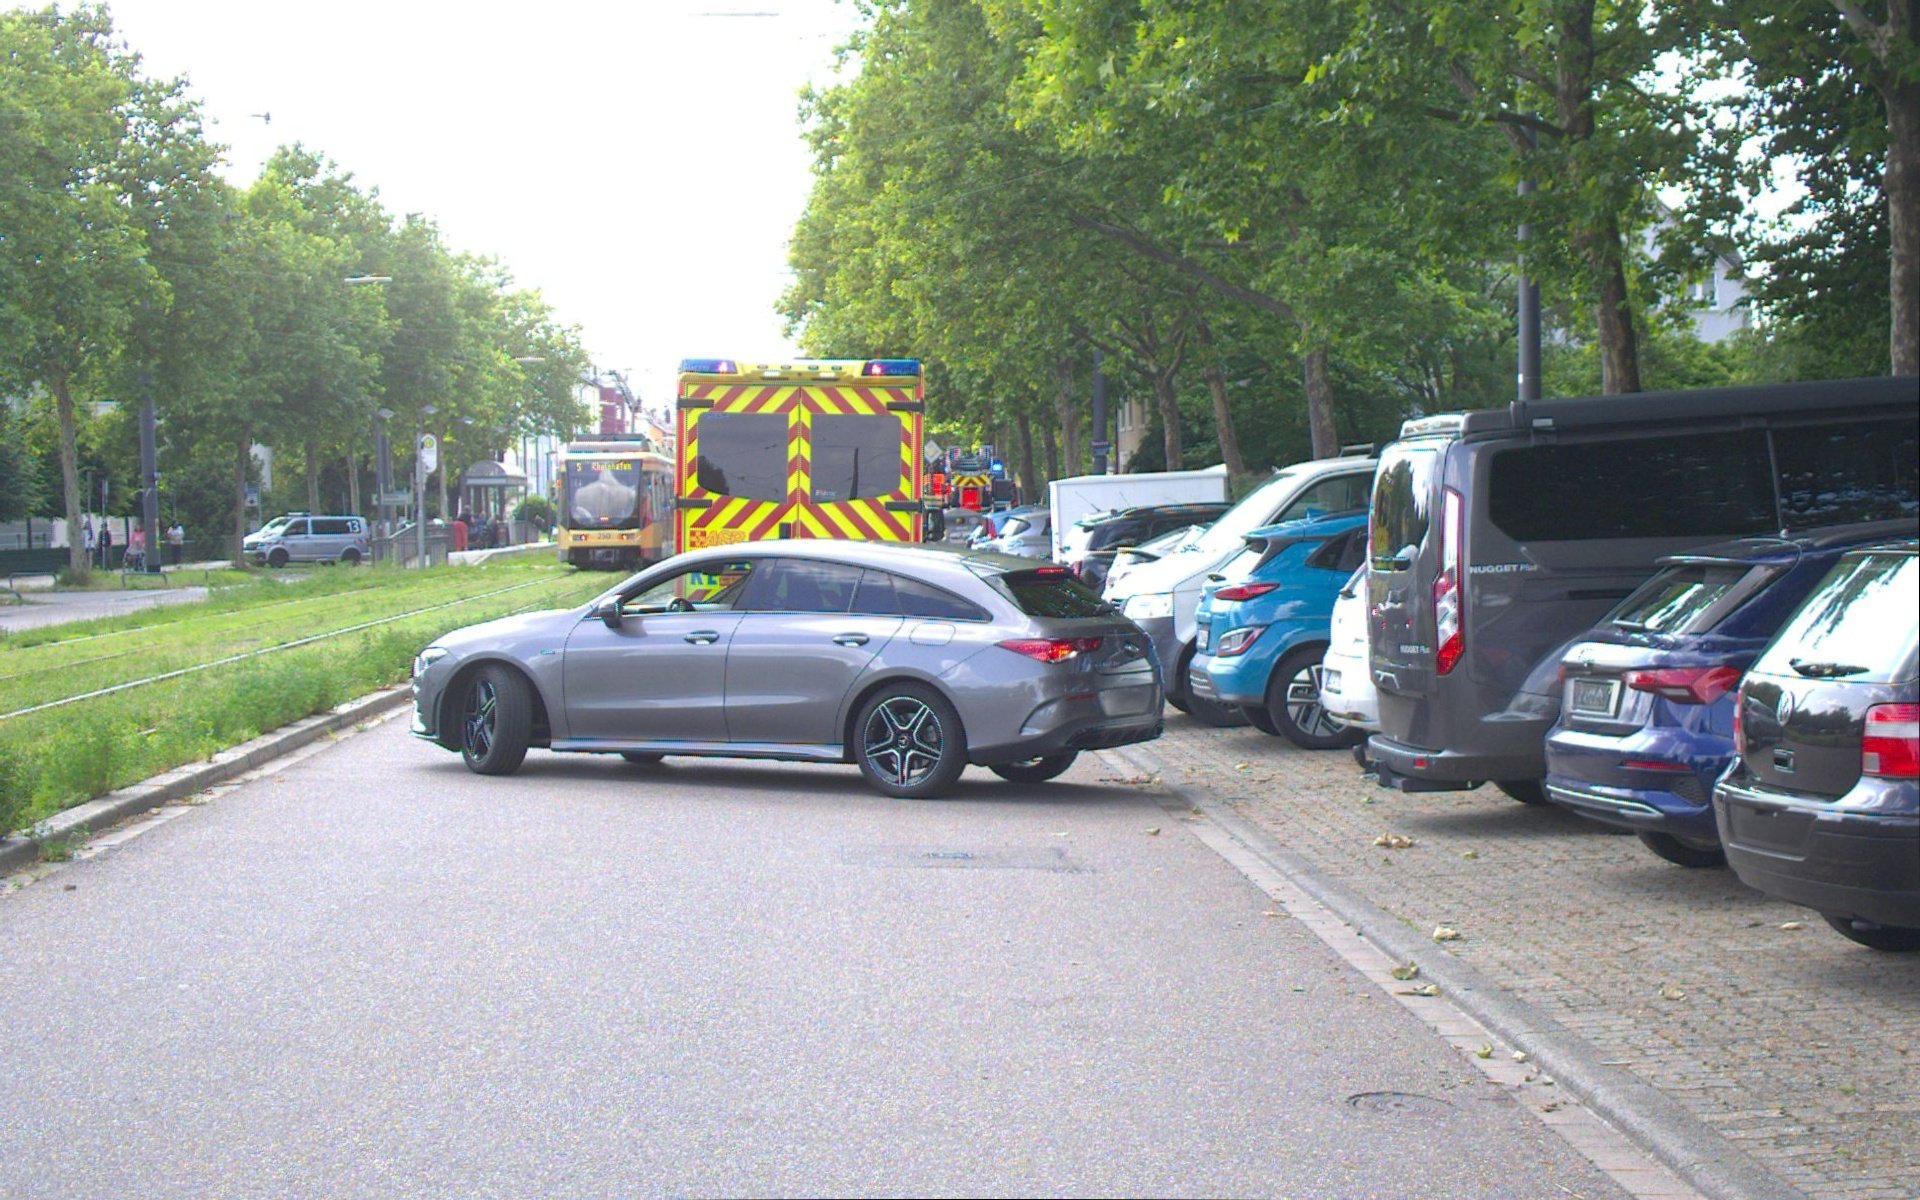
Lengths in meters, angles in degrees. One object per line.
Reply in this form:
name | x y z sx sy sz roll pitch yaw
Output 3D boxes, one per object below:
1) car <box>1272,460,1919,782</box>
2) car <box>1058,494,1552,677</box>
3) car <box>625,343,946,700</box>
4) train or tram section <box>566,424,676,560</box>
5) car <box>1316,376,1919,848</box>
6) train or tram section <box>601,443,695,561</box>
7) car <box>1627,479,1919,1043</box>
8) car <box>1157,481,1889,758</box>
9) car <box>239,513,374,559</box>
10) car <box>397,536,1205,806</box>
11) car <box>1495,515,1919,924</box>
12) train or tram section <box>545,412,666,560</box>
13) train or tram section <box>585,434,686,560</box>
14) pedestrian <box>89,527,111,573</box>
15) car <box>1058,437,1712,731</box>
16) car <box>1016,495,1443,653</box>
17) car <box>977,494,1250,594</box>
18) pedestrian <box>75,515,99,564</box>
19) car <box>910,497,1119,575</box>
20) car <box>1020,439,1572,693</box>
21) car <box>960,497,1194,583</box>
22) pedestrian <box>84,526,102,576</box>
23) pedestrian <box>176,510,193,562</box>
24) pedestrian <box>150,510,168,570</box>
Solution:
car | 4.309 0.081 20.912 4.545 1.760 1.856 -2 1 -2
car | 3.367 -0.166 34.027 4.545 1.603 1.856 -2 1 -6
car | -1.515 -0.734 32.437 2.641 2.956 6.300 2 1 -1
train or tram section | -9.406 -2.944 96.145 2.511 3.572 7.446 -2 1 -2
car | 4.181 0.000 16.962 4.545 2.116 1.856 -2 1 -2
train or tram section | -10.021 -3.112 111.022 2.511 3.572 7.446 -2 1 -2
car | 4.368 0.374 11.032 3.964 1.600 1.757 -2 1 -12
car | 3.768 0.100 23.433 4.545 1.654 1.856 -2 1 -6
car | -24.489 -2.419 128.942 4.615 1.627 1.882 -2 2 -41
car | -0.964 0.357 20.374 4.459 1.381 1.764 2 1 25
car | 4.310 0.390 13.794 3.965 1.489 1.756 -2 1 -2
train or tram section | -9.088 -2.861 88.718 2.511 3.572 7.446 -2 1 -2
train or tram section | -9.717 -3.028 103.585 2.511 3.572 7.446 -2 1 -2
pedestrian | -26.139 -1.521 104.473 0.422 1.409 0.467 -1 1 23
car | 3.145 -0.146 25.949 4.545 1.994 1.856 -2 1 -6
car | 3.029 -0.313 39.176 4.545 1.603 1.856 -2 1 -6
car | 2.680 -0.998 60.728 4.545 1.603 1.856 -2 1 -6
pedestrian | -28.275 -1.960 111.346 0.632 1.545 0.622 -1 1 -5
car | 1.229 -1.471 78.778 4.545 1.603 1.856 -2 1 -6
car | 2.928 -0.319 30.538 4.545 2.036 1.856 -2 1 -6
car | 2.381 -1.235 70.573 4.545 1.603 1.856 -2 1 -6
pedestrian | -25.881 -1.472 102.643 0.421 1.468 0.467 -1 1 -6
pedestrian | -27.303 -2.246 121.000 0.466 1.822 0.423 -1 1 -4
pedestrian | -22.953 -1.721 98.553 0.421 1.724 0.467 -1 1 -6
